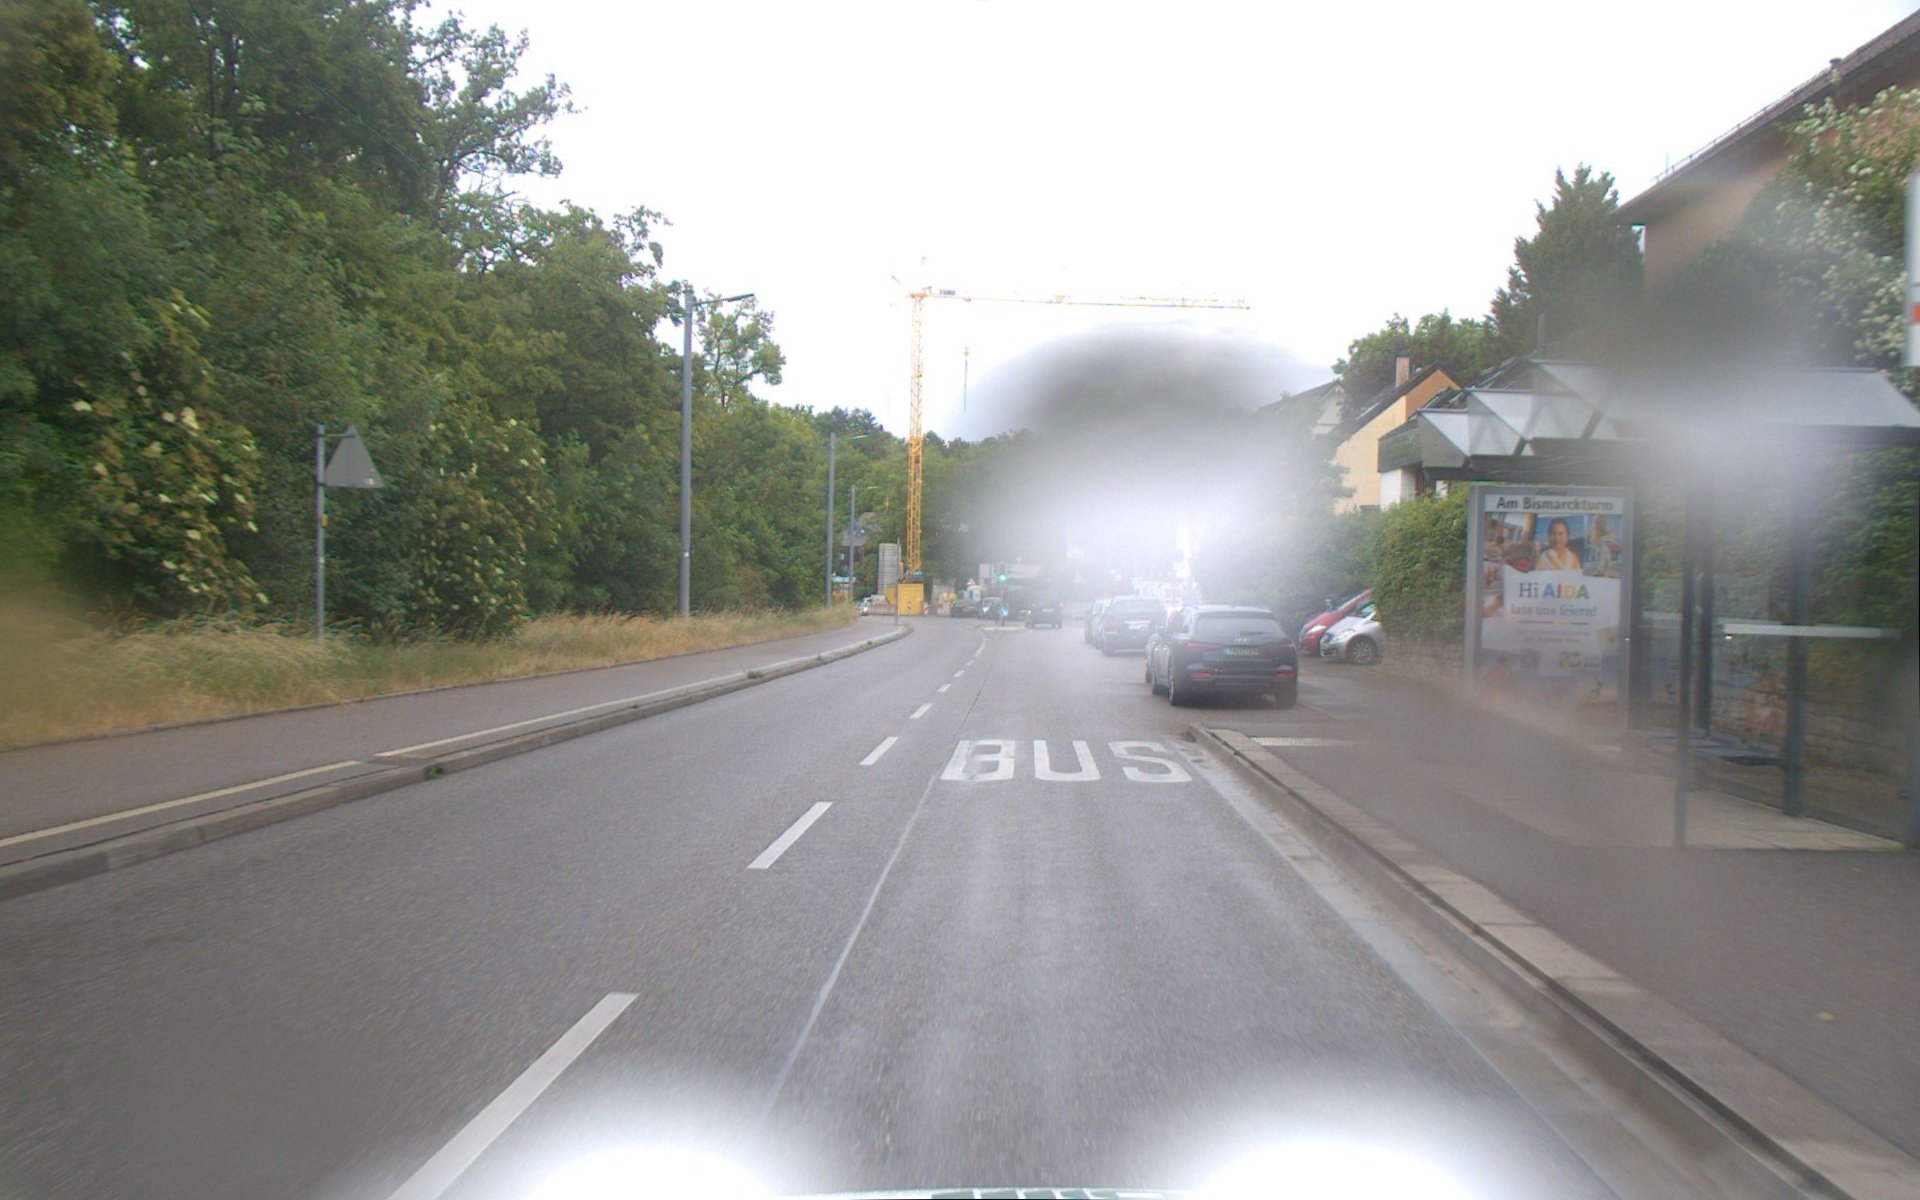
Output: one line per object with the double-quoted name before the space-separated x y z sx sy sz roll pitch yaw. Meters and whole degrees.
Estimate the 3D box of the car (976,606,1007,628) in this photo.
"car" 2.200 1.202 117.105 1.642 1.483 3.379 -1 -1 -9

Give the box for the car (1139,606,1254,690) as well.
"car" 4.241 0.857 30.141 1.775 1.423 4.104 0 -1 4

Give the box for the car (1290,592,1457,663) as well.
"car" 9.958 0.658 40.054 3.582 1.593 1.883 -1 -1 2

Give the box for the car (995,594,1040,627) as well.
"car" 3.738 0.658 107.600 1.957 2.049 4.946 2 0 -9

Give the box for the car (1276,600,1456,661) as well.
"car" 10.279 0.769 42.111 4.157 1.486 1.883 0 -1 2

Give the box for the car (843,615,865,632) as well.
"car" -9.284 2.076 144.860 1.708 1.485 4.413 0 -1 -1

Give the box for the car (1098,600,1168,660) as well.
"car" 4.784 0.798 46.265 1.694 1.595 4.523 0 0 3

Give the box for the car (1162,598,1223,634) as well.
"car" 11.509 0.816 81.986 1.895 1.624 4.335 3 -1 -7

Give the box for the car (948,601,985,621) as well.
"car" 0.488 0.853 130.980 1.898 1.447 4.821 2 0 -13

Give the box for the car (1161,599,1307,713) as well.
"car" 4.119 0.835 25.485 1.791 1.574 4.632 0 -1 4

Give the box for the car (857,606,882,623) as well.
"car" -9.420 1.485 172.574 1.716 1.735 4.484 -1 0 -14

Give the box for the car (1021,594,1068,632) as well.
"car" 4.311 0.692 84.838 1.893 1.782 3.997 3 -1 -3

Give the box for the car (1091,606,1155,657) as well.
"car" 5.126 1.007 52.439 1.756 1.513 4.496 0 -1 2

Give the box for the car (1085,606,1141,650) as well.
"car" 5.251 0.964 57.243 1.715 1.469 4.601 0 -1 3

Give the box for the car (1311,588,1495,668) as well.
"car" 9.872 0.611 37.056 3.583 1.563 1.828 -3 0 0
